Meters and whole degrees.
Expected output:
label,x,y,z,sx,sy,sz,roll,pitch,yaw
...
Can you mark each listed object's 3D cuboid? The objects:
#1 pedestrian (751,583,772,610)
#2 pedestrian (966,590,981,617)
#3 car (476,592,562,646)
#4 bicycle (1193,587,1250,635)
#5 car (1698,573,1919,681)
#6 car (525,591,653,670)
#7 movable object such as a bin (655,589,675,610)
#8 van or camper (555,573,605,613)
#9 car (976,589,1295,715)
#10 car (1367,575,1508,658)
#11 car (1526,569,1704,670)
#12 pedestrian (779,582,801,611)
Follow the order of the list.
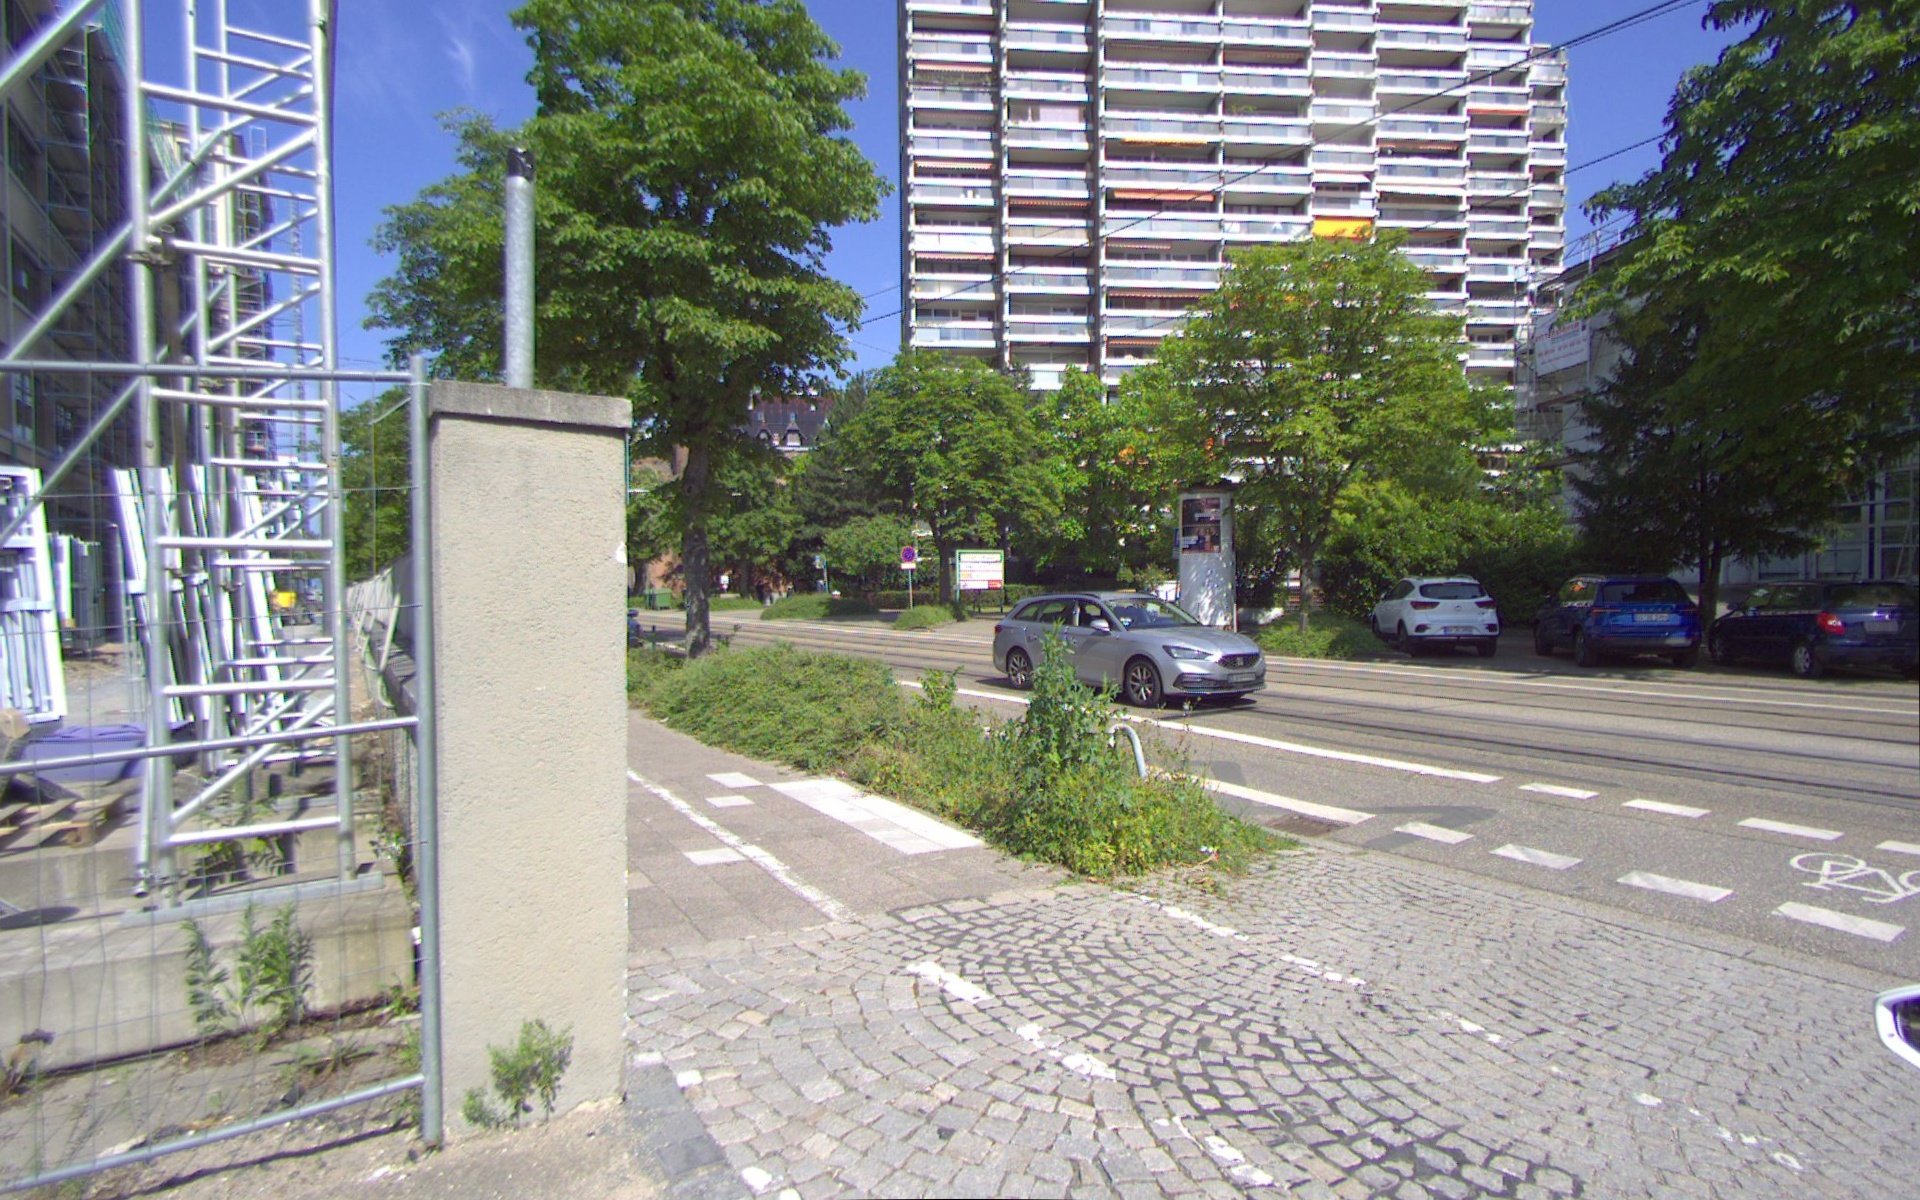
label,x,y,z,sx,sy,sz,roll,pitch,yaw
pedestrian,-13.582,-0.254,68.600,1.047,1.822,1.255,1,1,-30
pedestrian,0.610,0.142,44.560,0.525,1.170,0.700,-1,1,-10
car,-13.227,0.510,30.029,1.801,1.473,3.965,-1,1,-32
bicycle,7.520,0.296,28.888,0.542,1.326,1.604,-1,1,-37
car,13.684,0.368,16.228,1.544,1.551,3.460,0,1,12
car,-8.117,0.578,21.768,1.801,1.514,4.071,-1,1,-32
movable object such as a bin,-20.870,-0.049,71.076,1.249,1.473,1.072,0,1,-27
van or camper,-26.450,-0.522,69.763,2.028,2.655,5.808,-1,1,-33
car,2.267,0.598,14.226,1.872,1.427,4.552,-2,2,-33
car,10.141,0.291,21.640,1.783,1.628,3.947,0,1,10
car,12.084,0.288,18.832,1.745,1.644,3.945,-1,2,17
pedestrian,-11.056,-0.219,65.125,1.047,1.822,1.255,1,1,-28
